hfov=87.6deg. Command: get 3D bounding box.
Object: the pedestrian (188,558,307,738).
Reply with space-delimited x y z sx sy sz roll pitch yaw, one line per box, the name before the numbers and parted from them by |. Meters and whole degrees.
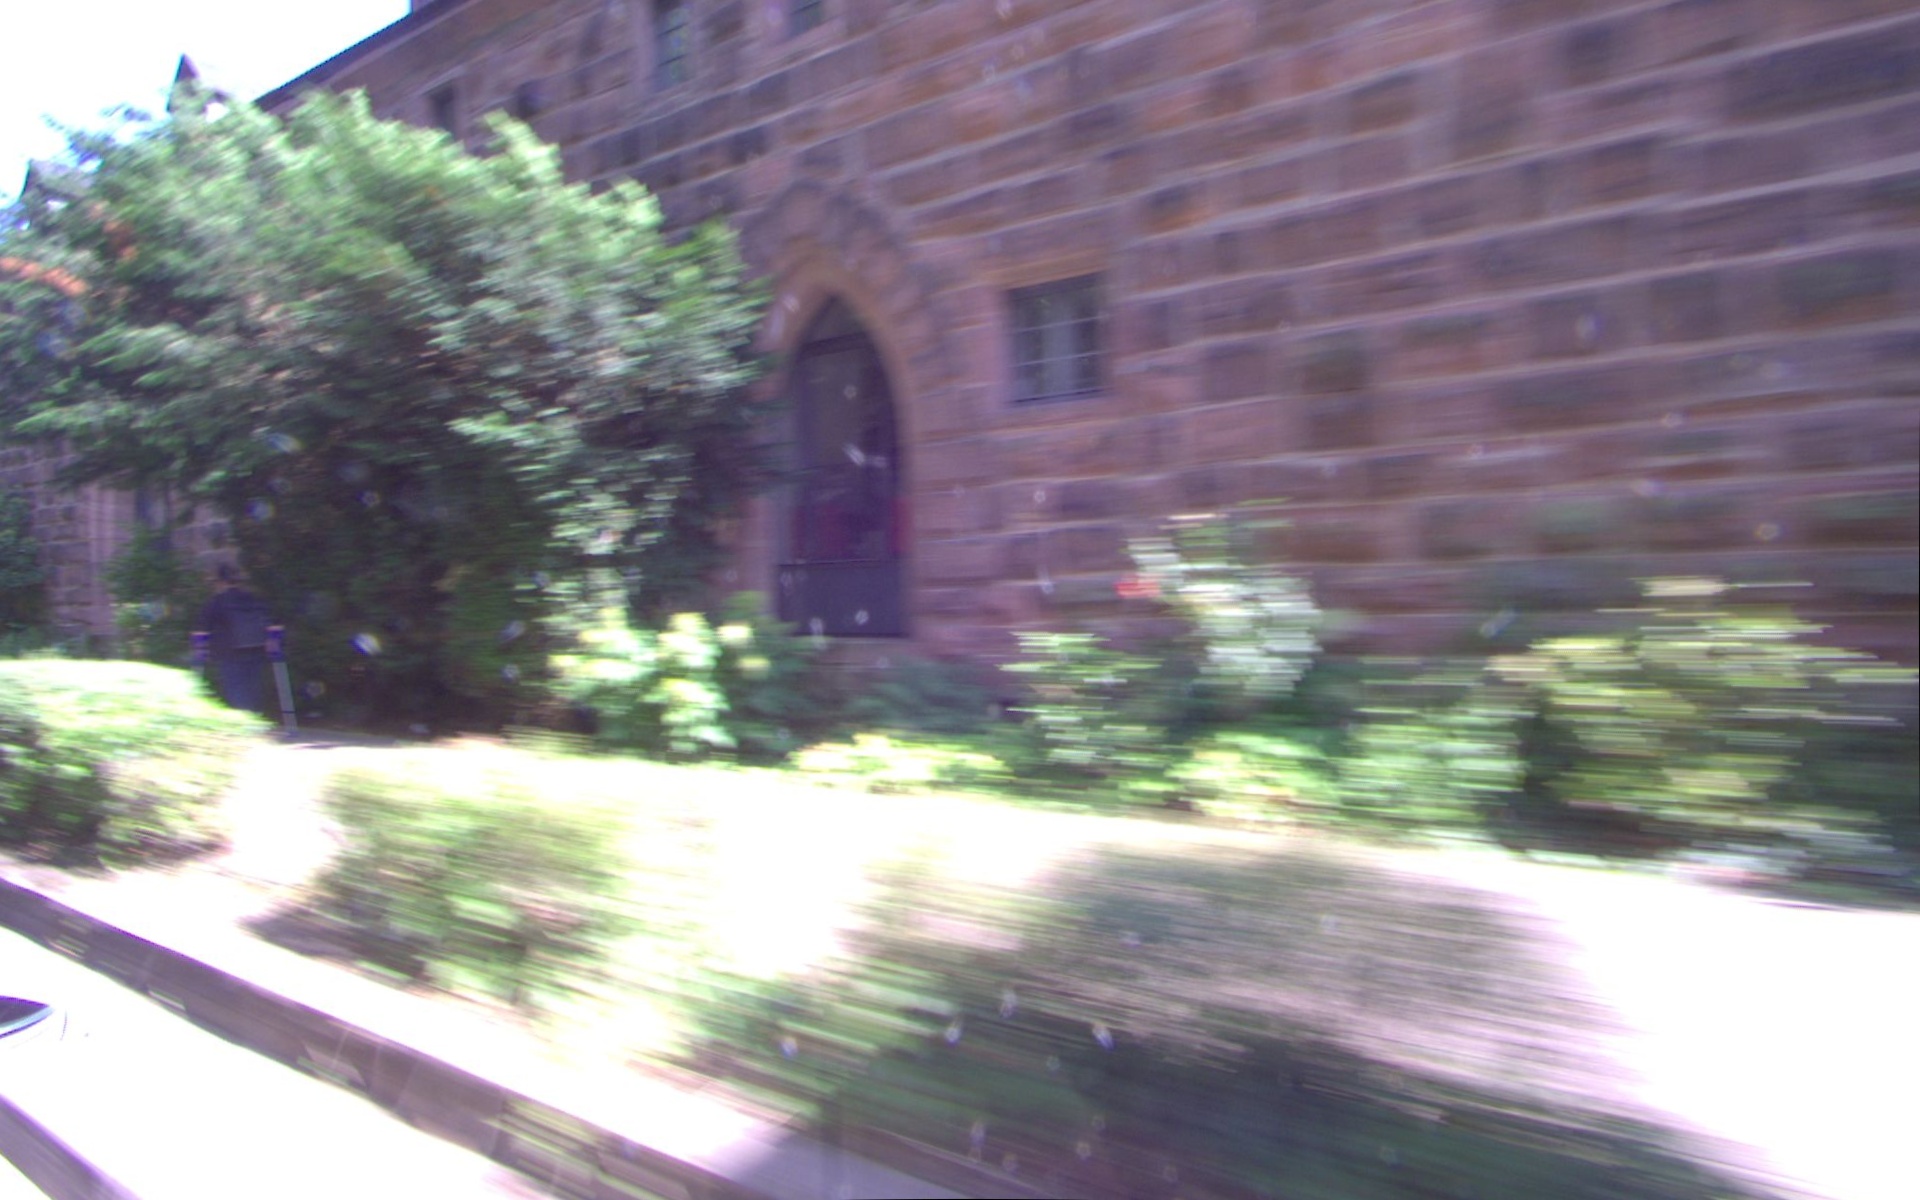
pedestrian | -6.934 0.439 9.752 0.695 1.675 0.696 0 2 35
